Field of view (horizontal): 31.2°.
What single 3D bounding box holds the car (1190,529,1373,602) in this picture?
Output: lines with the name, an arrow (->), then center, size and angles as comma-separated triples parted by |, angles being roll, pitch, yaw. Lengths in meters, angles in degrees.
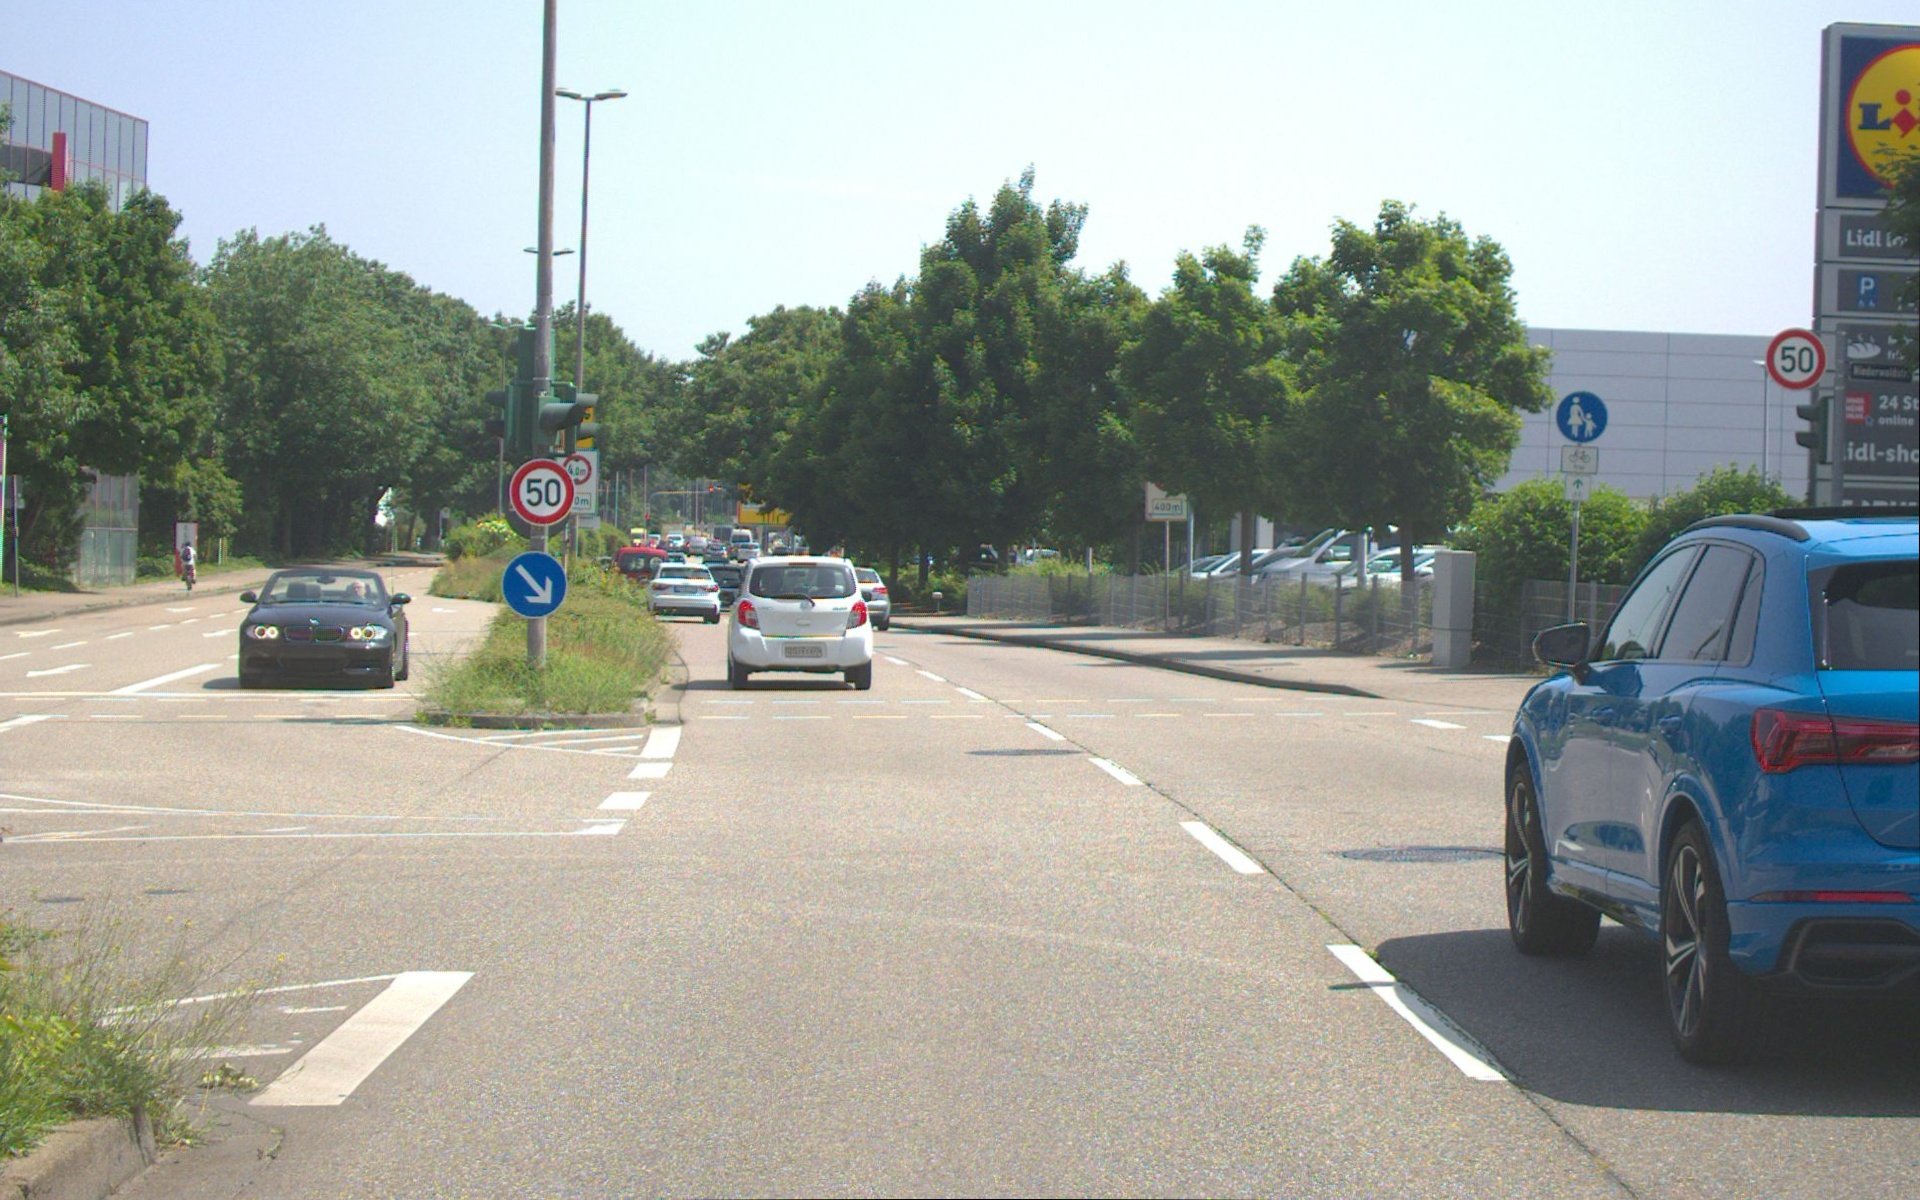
car -> 7.697, -0.835, 82.492 | 3.986, 1.590, 1.827 | 2, 0, -10

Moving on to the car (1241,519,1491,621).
car -> 8.104, -0.605, 68.830 | 4.615, 1.918, 1.827 | 1, 1, -6

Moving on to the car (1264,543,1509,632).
car -> 8.181, -0.253, 66.138 | 4.366, 1.587, 1.827 | 1, 1, -5

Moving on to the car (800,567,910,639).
car -> -2.393, 0.045, 77.346 | 1.865, 1.468, 4.001 | 3, 0, -10

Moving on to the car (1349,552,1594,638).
car -> 9.144, -0.098, 61.596 | 3.995, 1.416, 1.698 | 1, 1, -7

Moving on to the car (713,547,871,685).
car -> -2.008, 0.166, 40.317 | 1.638, 1.547, 3.326 | 0, 1, -6

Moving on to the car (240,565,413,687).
car -> -7.237, 0.261, 39.542 | 1.729, 1.319, 4.150 | 0, 1, -7

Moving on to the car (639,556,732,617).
car -> -6.570, -0.340, 82.002 | 1.884, 1.349, 4.001 | 3, 0, -9

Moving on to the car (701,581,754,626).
car -> -7.384, 0.103, 109.086 | 1.441, 1.343, 3.461 | 0, 1, -8

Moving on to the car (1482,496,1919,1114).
car -> 2.911, 0.493, 11.005 | 1.808, 1.587, 4.349 | 0, 1, 0

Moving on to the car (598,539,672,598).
car -> -9.092, -0.898, 96.050 | 1.884, 1.603, 4.001 | 0, 1, -8
